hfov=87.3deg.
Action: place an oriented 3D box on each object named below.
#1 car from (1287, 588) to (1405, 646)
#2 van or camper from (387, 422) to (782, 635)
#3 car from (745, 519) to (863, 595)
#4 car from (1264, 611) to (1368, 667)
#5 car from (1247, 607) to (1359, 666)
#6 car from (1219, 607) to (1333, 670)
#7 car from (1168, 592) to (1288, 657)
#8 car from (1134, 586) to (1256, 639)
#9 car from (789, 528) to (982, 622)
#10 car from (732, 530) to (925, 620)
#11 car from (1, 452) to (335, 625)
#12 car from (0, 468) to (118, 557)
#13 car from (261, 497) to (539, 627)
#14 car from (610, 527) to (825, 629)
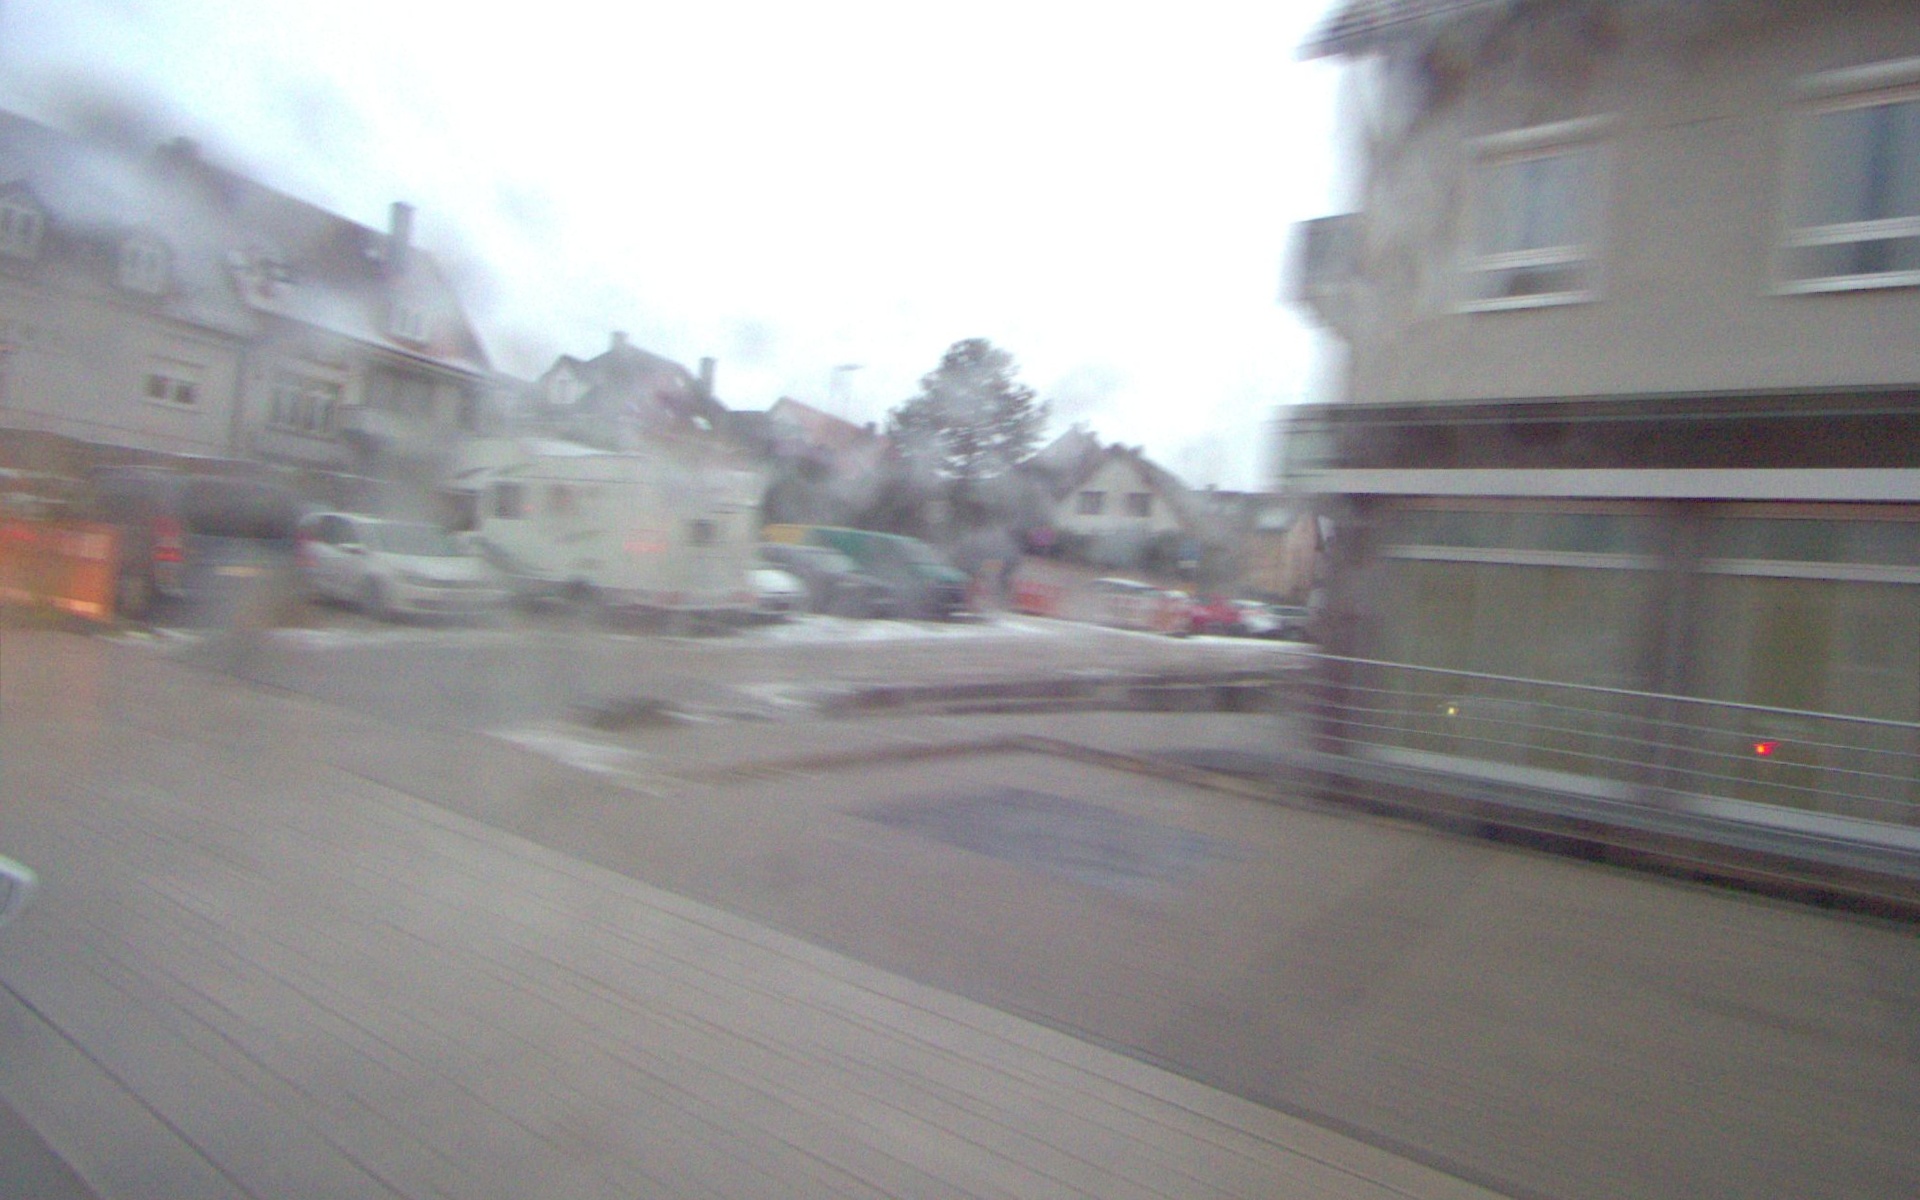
[{"bbox_3d":[19.834,0.871,51.769,5.187,2.275,1.996,7,-1,33],"label":"car"},{"bbox_3d":[-6.824,-1.330,18.139,6.613,3.090,2.654,7,3,25],"label":"van or camper"},{"bbox_3d":[-5.906,-1.636,37.837,4.187,2.364,1.884,8,3,38],"label":"car"},{"bbox_3d":[16.238,1.781,45.871,3.935,2.040,1.994,7,2,33],"label":"car"},{"bbox_3d":[14.728,1.542,43.263,3.944,2.040,1.989,7,2,41],"label":"car"},{"bbox_3d":[12.840,1.560,40.937,3.932,2.040,1.995,7,2,30],"label":"car"},{"bbox_3d":[10.529,0.945,39.668,3.944,2.040,1.989,7,2,41],"label":"car"},{"bbox_3d":[8.711,0.441,37.420,3.944,1.471,1.762,7,2,41],"label":"car"},{"bbox_3d":[-1.943,-0.656,25.261,4.726,1.910,1.775,7,3,36],"label":"car"},{"bbox_3d":[-3.006,-0.584,22.712,3.937,1.629,1.991,7,4,35],"label":"car"},{"bbox_3d":[-10.469,-0.824,13.237,4.277,1.788,1.995,7,2,31],"label":"car"},{"bbox_3d":[-18.550,-1.799,19.639,3.567,1.481,1.724,7,2,22],"label":"car"},{"bbox_3d":[-8.652,-0.605,15.458,4.107,1.631,1.994,5,1,33],"label":"car"},{"bbox_3d":[-4.808,-0.492,19.828,3.932,1.577,1.787,7,6,29],"label":"car"}]
